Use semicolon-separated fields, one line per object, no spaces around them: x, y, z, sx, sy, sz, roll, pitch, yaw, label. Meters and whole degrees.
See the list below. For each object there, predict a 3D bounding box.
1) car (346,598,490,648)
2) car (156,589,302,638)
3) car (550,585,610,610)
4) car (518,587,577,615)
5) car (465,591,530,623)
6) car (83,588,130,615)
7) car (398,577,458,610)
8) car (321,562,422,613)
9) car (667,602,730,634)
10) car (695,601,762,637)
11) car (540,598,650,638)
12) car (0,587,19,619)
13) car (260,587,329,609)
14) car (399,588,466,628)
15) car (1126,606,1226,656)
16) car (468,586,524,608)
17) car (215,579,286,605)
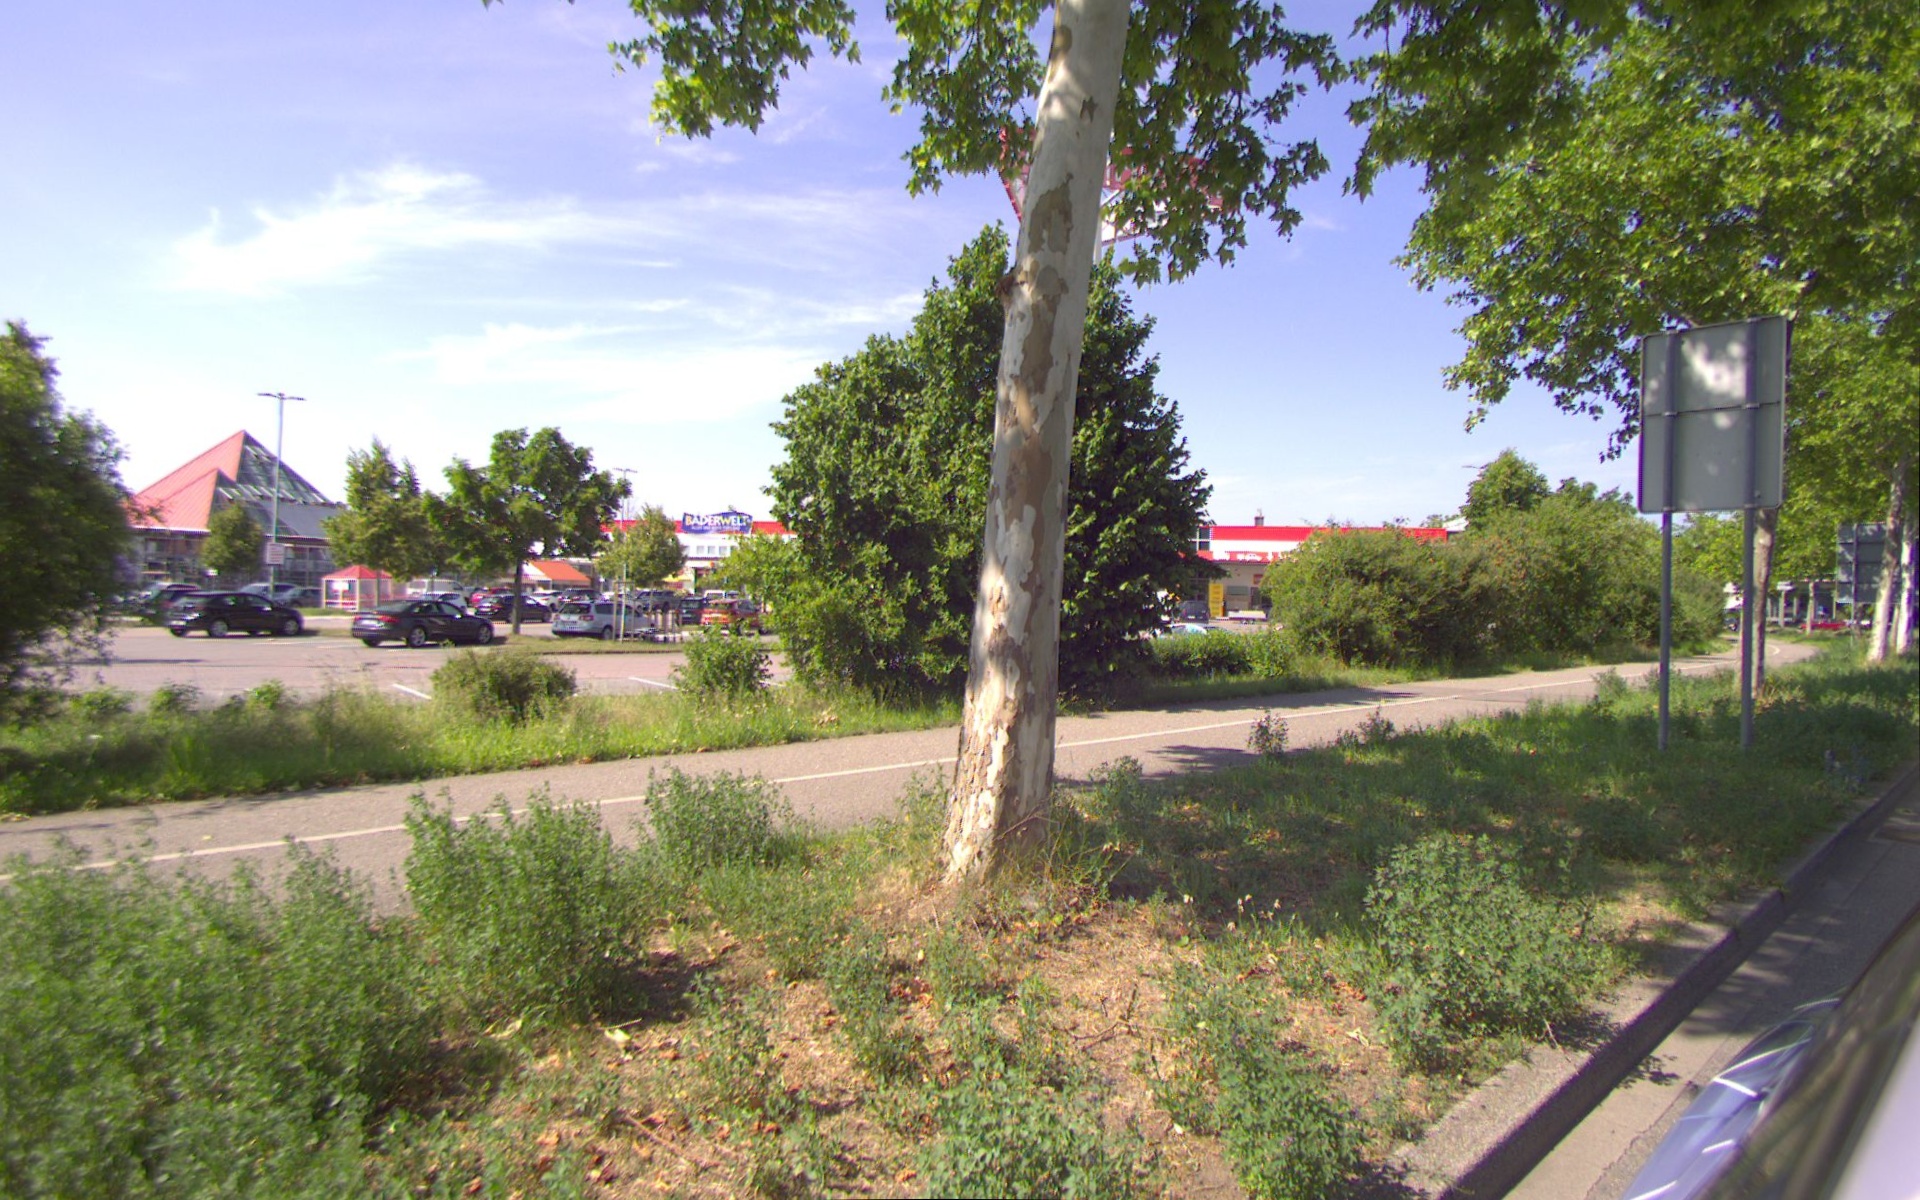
-16.182;0.648;30.448;1.425;1.371;3.978;0;0;17;car
-23.314;0.437;32.452;1.472;1.460;3.859;-1;-1;11;car
-25.718;-0.131;68.627;1.973;1.632;4.042;0;0;11;car
-28.270;0.052;69.492;1.861;1.868;4.042;0;0;11;car
-23.404;0.335;51.338;1.473;1.527;3.495;1;0;5;car
-40.936;0.092;48.595;1.608;1.282;3.735;0;-1;-39;car
-37.617;-0.456;71.636;1.973;2.256;3.567;0;0;11;car
-34.911;-0.691;60.211;2.270;2.889;5.265;0;0;11;car
-13.724;0.927;53.332;1.745;1.625;3.731;0;0;11;car
-10.500;0.849;46.196;1.654;1.566;3.778;0;0;10;car
-12.775;0.674;35.635;1.759;1.289;3.805;0;-3;15;car
-46.098;0.126;46.379;1.967;1.517;3.989;1;0;9;car
-39.900;-0.115;60.716;1.377;1.266;3.296;-1;-1;22;car
-30.255;0.458;58.168;1.534;2.191;3.540;0;0;11;car
7.148;1.000;33.675;1.175;1.474;3.156;0;1;-43;car
-32.368;-0.189;70.713;1.507;1.455;3.847;0;0;13;car
-42.502;-0.451;60.725;1.377;1.530;3.296;-1;-1;22;car
